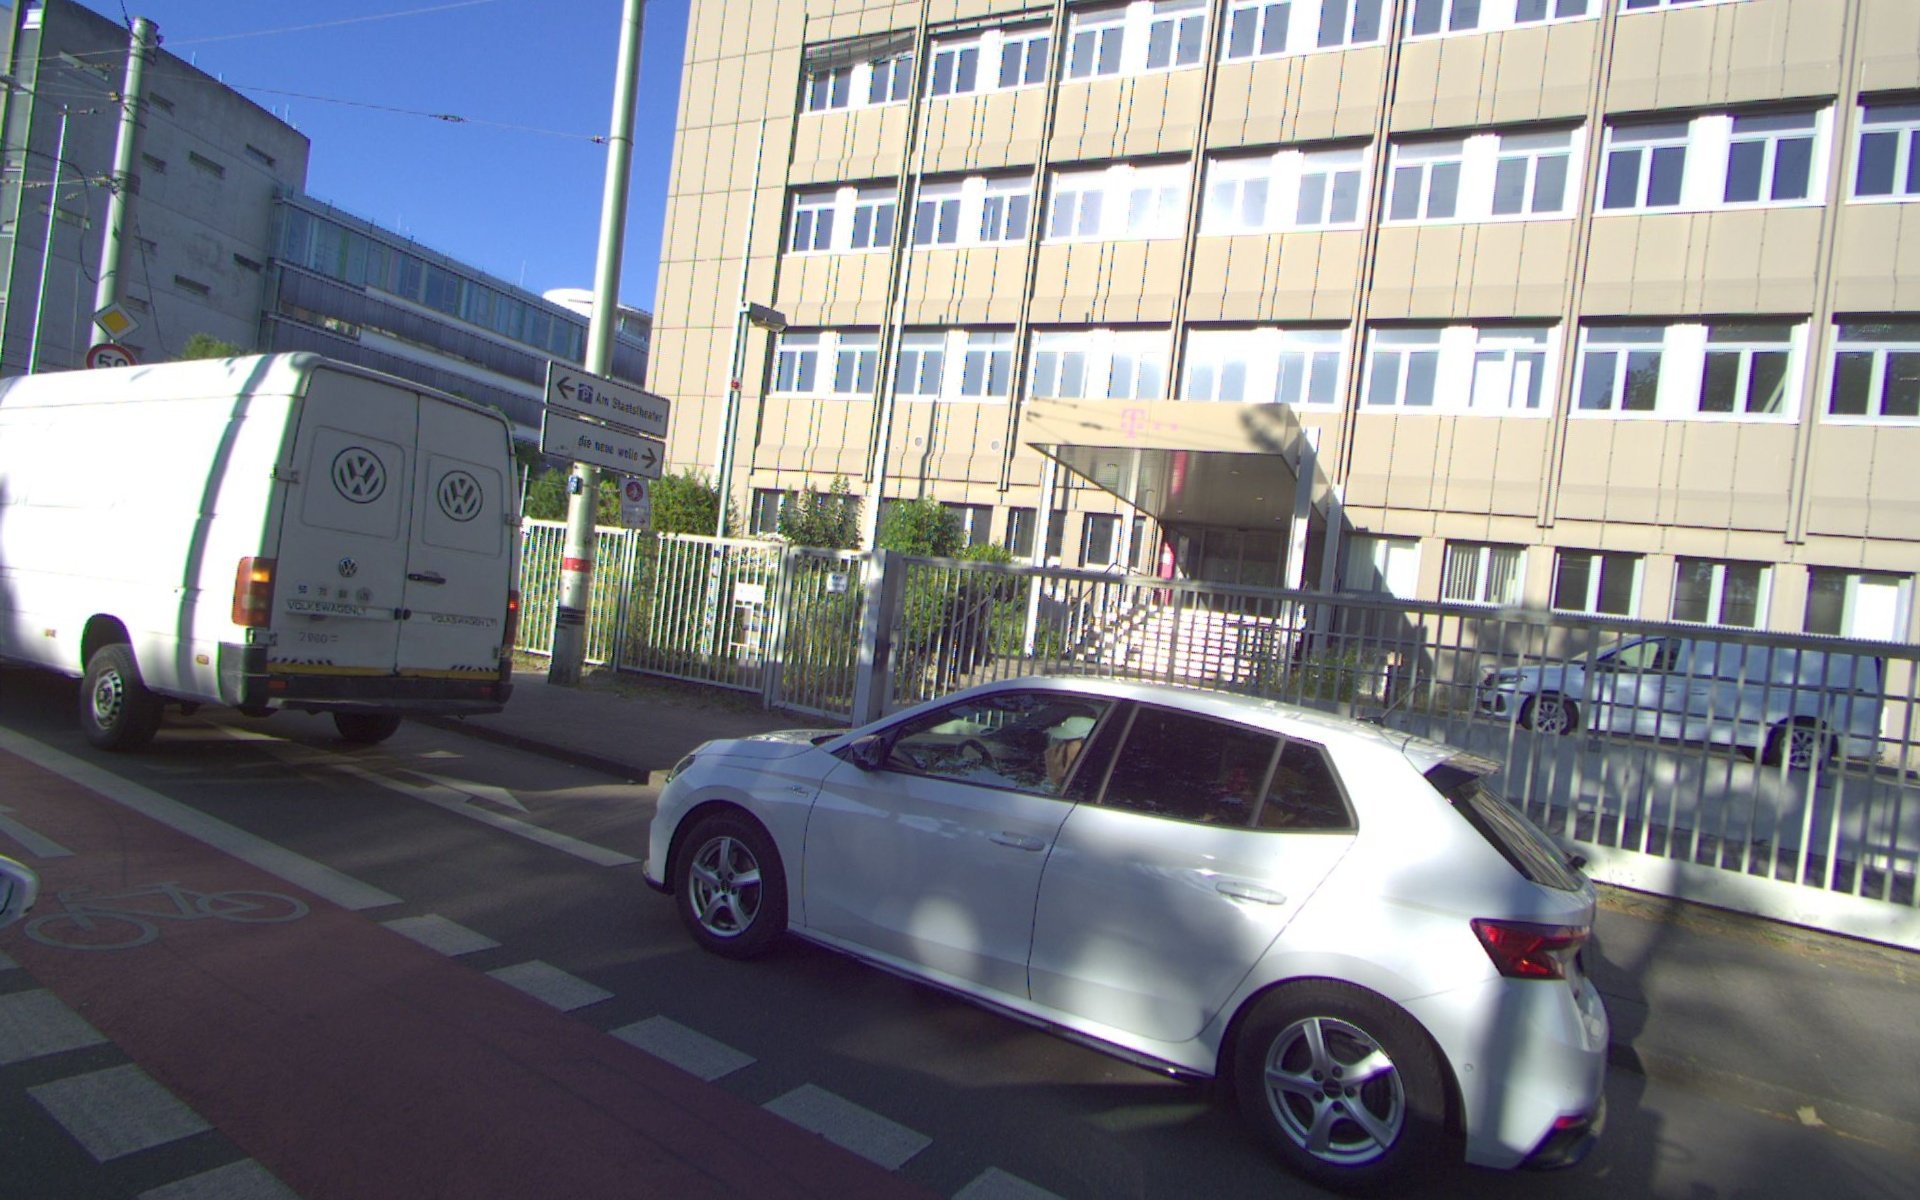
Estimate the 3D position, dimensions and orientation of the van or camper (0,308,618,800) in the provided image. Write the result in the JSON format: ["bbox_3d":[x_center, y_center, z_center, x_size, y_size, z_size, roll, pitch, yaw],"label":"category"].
[{"bbox_3d":[-6.046,-0.472,8.035,6.235,2.764,2.277,7,-2,27],"label":"van or camper"}]

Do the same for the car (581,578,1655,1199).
[{"bbox_3d":[0.492,0.955,4.429,3.913,1.517,1.807,7,-3,29],"label":"car"}]

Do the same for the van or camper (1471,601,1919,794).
[{"bbox_3d":[10.401,1.303,14.757,4.910,1.932,1.985,7,0,25],"label":"van or camper"}]
